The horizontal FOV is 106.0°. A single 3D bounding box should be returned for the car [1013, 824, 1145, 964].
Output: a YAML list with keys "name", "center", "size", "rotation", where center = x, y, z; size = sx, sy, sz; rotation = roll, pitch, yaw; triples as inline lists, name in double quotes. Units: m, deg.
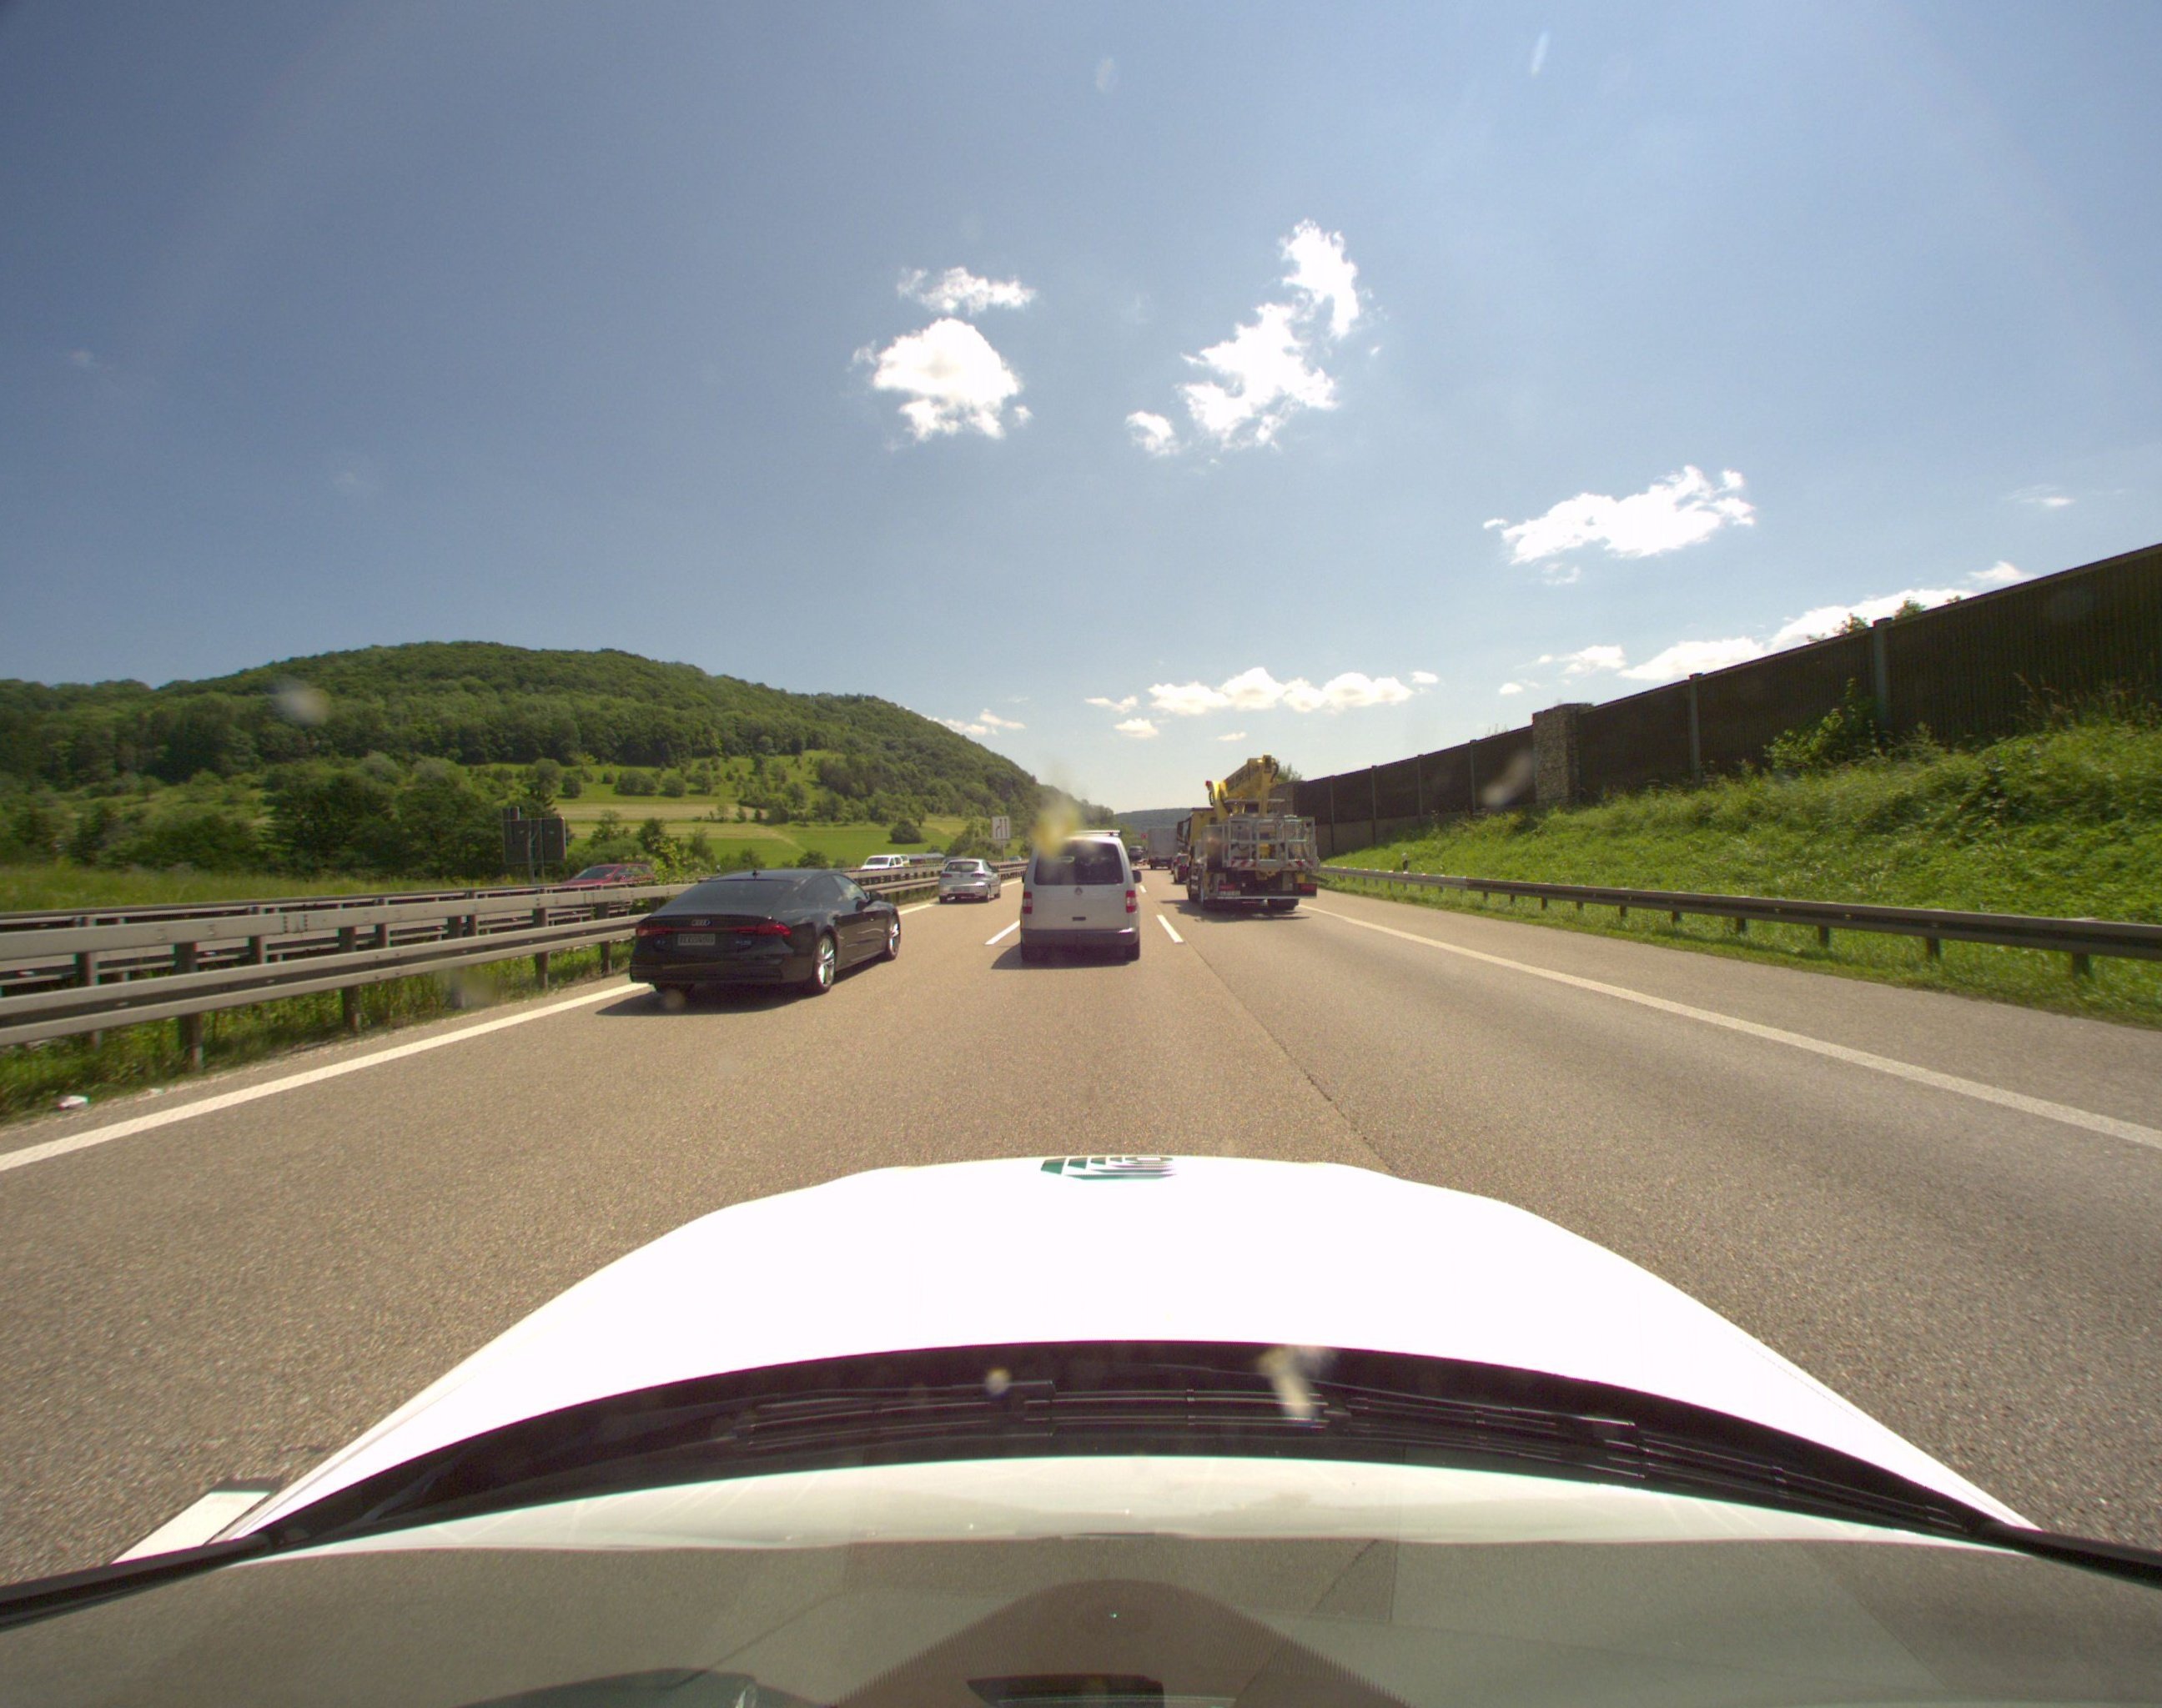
- name: "car"
  center: [0.006, 0.542, 13.049]
  size: [1.750, 1.868, 4.000]
  rotation: [-1, 0, 1]

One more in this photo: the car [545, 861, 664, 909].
- name: "car"
  center: [-18.504, 1.148, 31.898]
  size: [1.818, 1.644, 4.547]
  rotation: [-1, 0, 2]

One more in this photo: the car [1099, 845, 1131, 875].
- name: "car"
  center: [2.291, 0.386, 55.853]
  size: [1.987, 1.975, 4.000]
  rotation: [-1, 0, 1]

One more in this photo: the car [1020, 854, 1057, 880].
- name: "car"
  center: [-2.523, 0.755, 49.200]
  size: [1.918, 1.499, 4.000]
  rotation: [-1, 0, 1]

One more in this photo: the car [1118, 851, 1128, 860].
- name: "car"
  center: [8.630, 0.301, 166.459]
  size: [1.986, 1.805, 4.002]
  rotation: [0, -1, 2]

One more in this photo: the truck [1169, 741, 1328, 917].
- name: "truck"
  center: [4.265, -0.566, 22.797]
  size: [2.694, 3.942, 8.722]
  rotation: [-1, 0, 1]

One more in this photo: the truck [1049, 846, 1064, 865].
- name: "truck"
  center: [-5.576, 0.384, 188.150]
  size: [2.786, 4.232, 7.238]
  rotation: [0, -1, 4]

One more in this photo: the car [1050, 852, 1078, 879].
- name: "car"
  center: [-1.307, 0.868, 64.993]
  size: [1.987, 2.013, 4.000]
  rotation: [-2, 0, 1]

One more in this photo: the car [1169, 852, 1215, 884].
- name: "car"
  center: [5.442, 0.649, 40.318]
  size: [1.780, 1.458, 3.771]
  rotation: [-1, 0, 1]

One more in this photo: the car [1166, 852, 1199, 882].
- name: "car"
  center: [7.304, 0.892, 58.859]
  size: [1.986, 2.013, 4.002]
  rotation: [-1, 0, 2]

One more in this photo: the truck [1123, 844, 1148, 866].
- name: "truck"
  center: [6.912, 0.126, 102.529]
  size: [2.375, 2.541, 5.957]
  rotation: [-1, 0, 11]

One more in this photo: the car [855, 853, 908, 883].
- name: "car"
  center: [-13.164, 0.900, 54.075]
  size: [1.986, 1.839, 5.229]
  rotation: [-1, 0, 2]

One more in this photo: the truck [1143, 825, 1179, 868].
- name: "truck"
  center: [7.516, -0.633, 77.510]
  size: [2.929, 3.823, 8.240]
  rotation: [0, -1, 2]

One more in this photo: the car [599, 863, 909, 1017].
- name: "car"
  center: [-3.678, 0.858, 10.334]
  size: [1.794, 1.390, 4.971]
  rotation: [-1, 0, 1]

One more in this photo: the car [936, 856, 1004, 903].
- name: "car"
  center: [-3.712, 0.810, 27.803]
  size: [1.689, 1.445, 3.863]
  rotation: [-1, 0, 1]
